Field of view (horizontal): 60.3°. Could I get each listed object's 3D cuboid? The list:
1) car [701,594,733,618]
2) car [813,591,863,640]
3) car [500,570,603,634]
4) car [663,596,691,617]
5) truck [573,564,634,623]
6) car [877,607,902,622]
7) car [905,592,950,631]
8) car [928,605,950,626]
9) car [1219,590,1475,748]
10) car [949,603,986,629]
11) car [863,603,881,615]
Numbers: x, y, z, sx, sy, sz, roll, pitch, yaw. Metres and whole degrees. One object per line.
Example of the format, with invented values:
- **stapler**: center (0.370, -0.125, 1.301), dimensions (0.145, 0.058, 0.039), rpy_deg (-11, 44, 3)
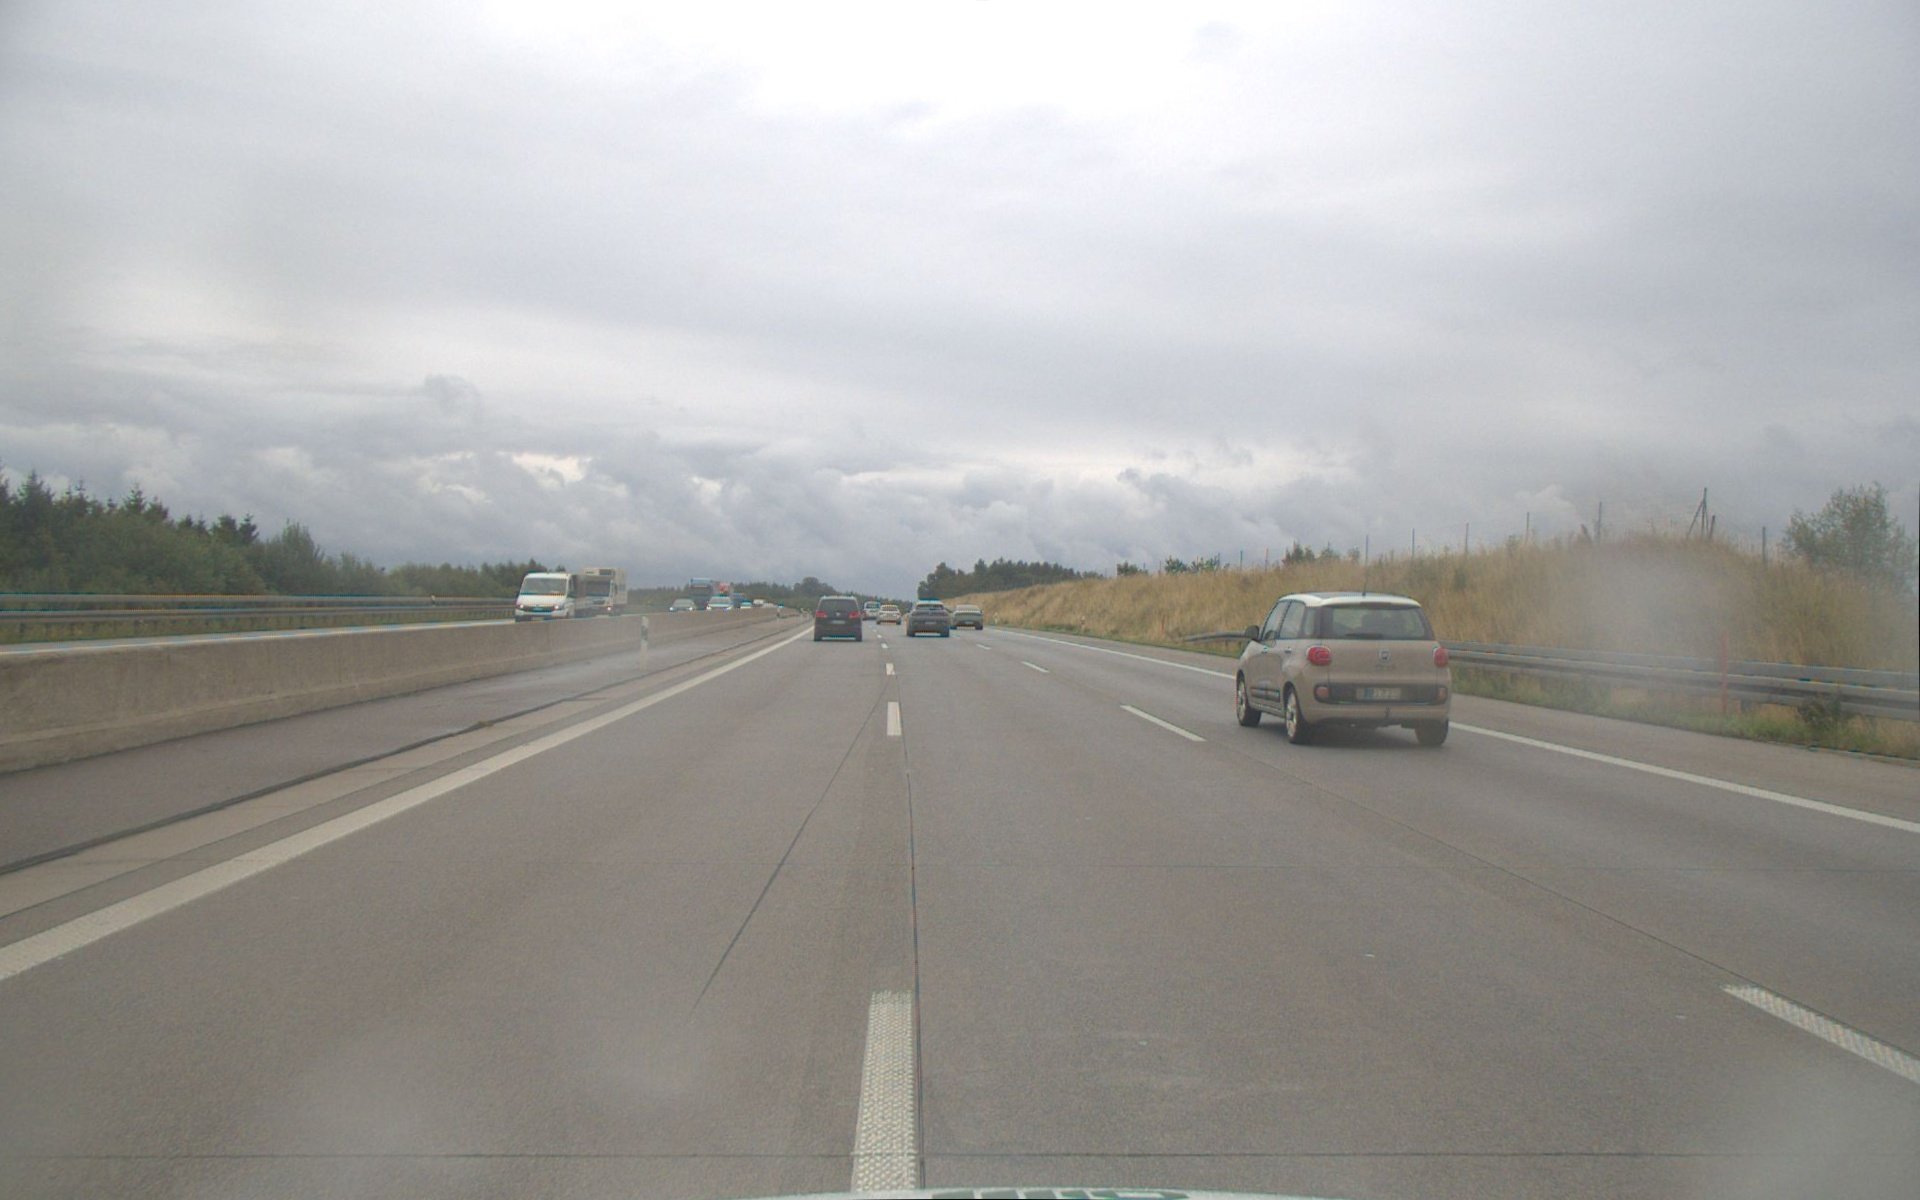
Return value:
- **car**: center (-16.952, 0.429, 115.528), dimensions (1.707, 1.594, 4.496), rpy_deg (1, 0, -3)
- **car**: center (-4.639, 0.566, 63.312), dimensions (1.749, 1.777, 3.913), rpy_deg (1, 0, -3)
- **car**: center (-16.688, 0.078, 68.112), dimensions (2.568, 2.442, 7.513), rpy_deg (1, 0, -2)
- **car**: center (-21.631, 0.509, 126.670), dimensions (1.597, 1.594, 4.408), rpy_deg (1, 0, -3)
- **truck**: center (-25.010, -0.424, 116.415), dimensions (2.841, 3.931, 8.894), rpy_deg (1, 0, -3)
- **car**: center (-5.348, 1.092, 125.747), dimensions (1.761, 1.143, 3.999), rpy_deg (1, 0, -1)
- **car**: center (-1.526, 0.507, 75.668), dimensions (1.860, 1.719, 5.262), rpy_deg (1, 0, -3)
- **car**: center (-1.681, 1.219, 132.067), dimensions (1.457, 1.496, 3.501), rpy_deg (4, 0, -5)
- **car**: center (4.427, 0.726, 19.645), dimensions (1.749, 1.633, 4.568), rpy_deg (1, 0, -3)
- **car**: center (0.457, 0.957, 100.902), dimensions (1.974, 1.471, 4.742), rpy_deg (1, 0, -3)
- **car**: center (-9.237, 0.952, 174.462), dimensions (1.761, 1.243, 3.999), rpy_deg (1, 0, -1)
